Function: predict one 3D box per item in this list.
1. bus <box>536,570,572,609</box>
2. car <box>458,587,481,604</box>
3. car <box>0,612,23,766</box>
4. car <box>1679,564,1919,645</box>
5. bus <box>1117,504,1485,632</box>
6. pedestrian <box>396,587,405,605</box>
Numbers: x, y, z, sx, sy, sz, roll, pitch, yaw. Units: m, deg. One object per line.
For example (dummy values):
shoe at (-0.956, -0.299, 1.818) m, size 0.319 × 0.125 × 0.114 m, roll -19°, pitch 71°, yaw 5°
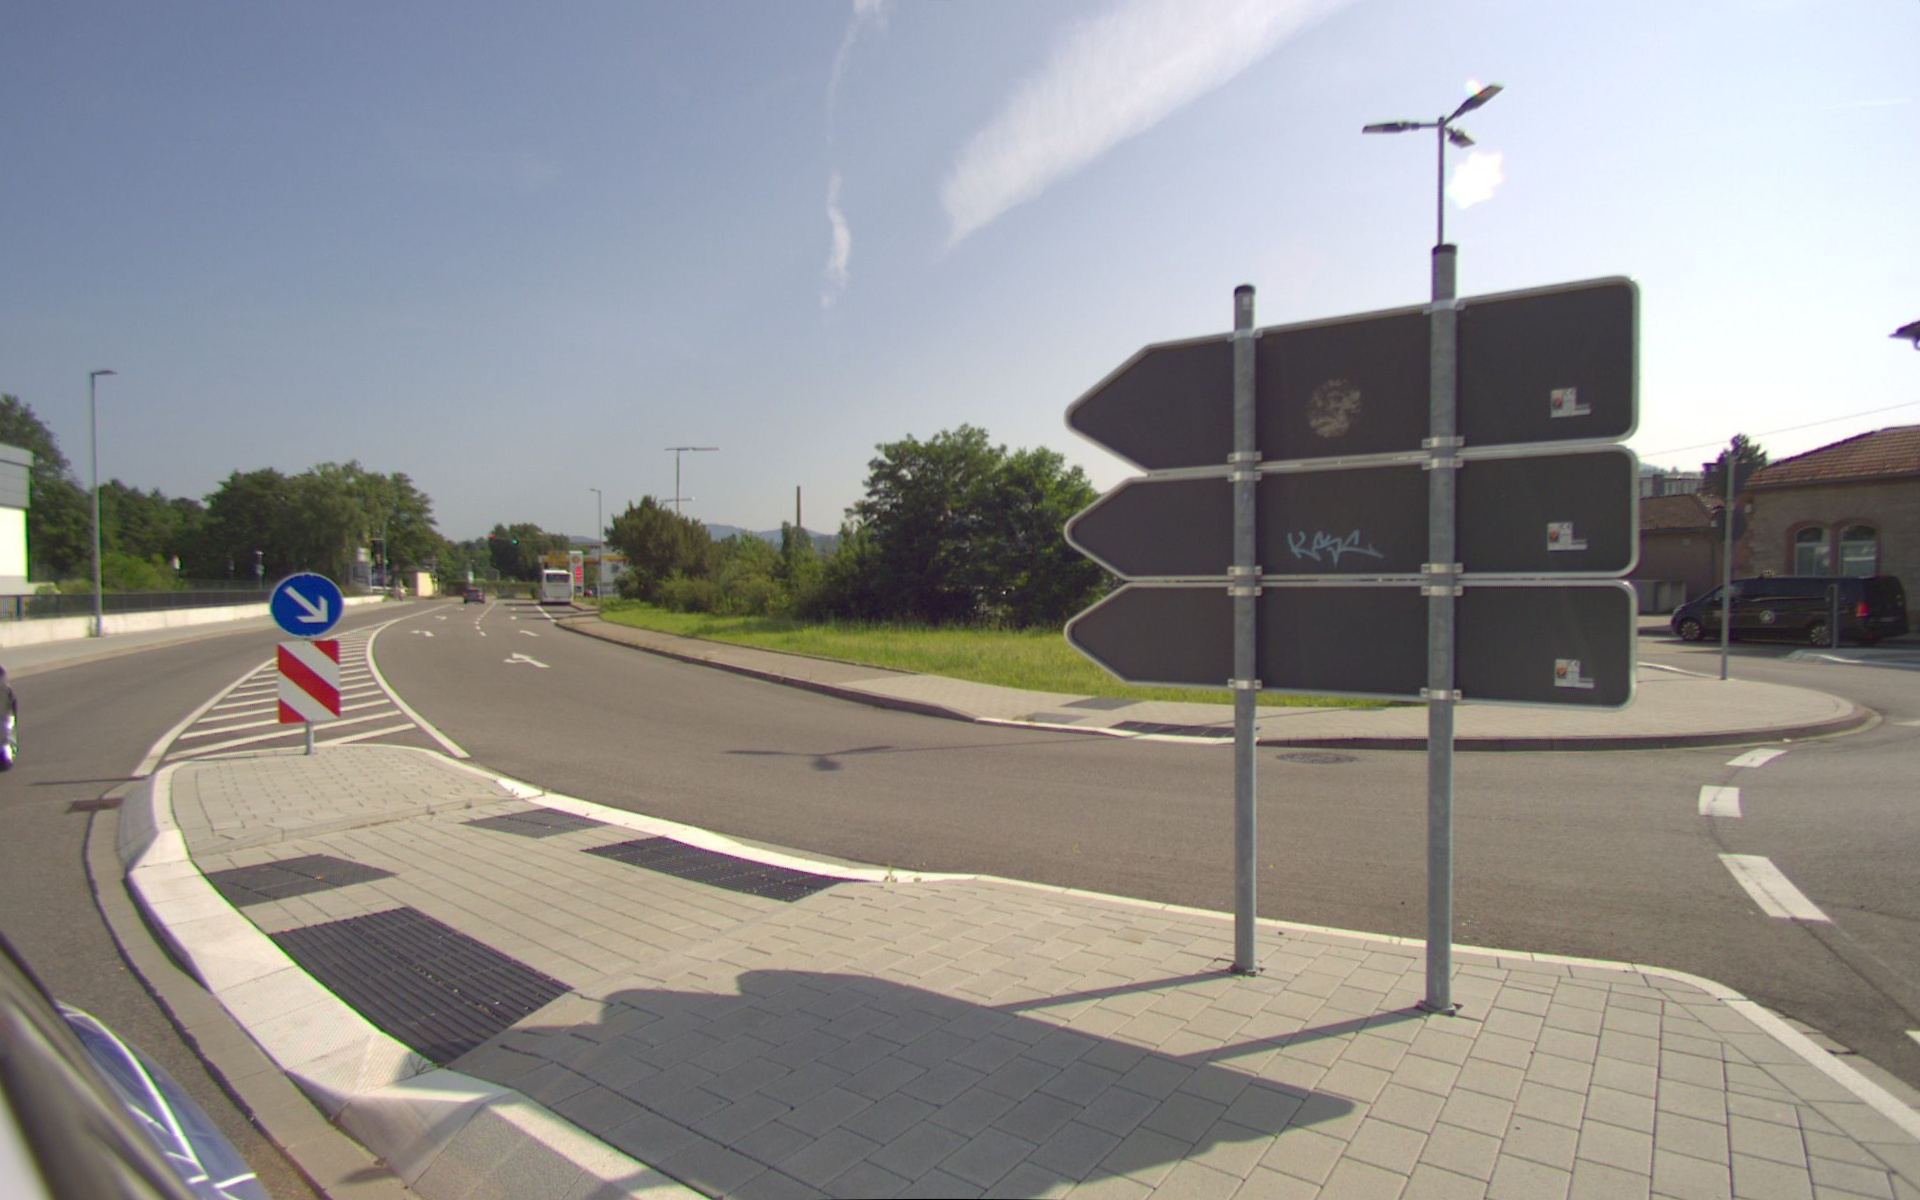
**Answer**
bus at (-37.742, -0.987, 93.908) m, size 2.583 × 3.335 × 11.997 m, roll 0°, pitch 1°, yaw -24°
car at (-46.422, -0.433, 95.899) m, size 1.747 × 1.484 × 4.234 m, roll 0°, pitch 1°, yaw -23°
car at (-8.596, 0.780, 7.577) m, size 1.839 × 1.340 × 4.242 m, roll -1°, pitch 0°, yaw -36°
car at (22.361, 0.074, 27.076) m, size 1.814 × 1.960 × 4.898 m, roll 0°, pitch 1°, yaw -19°
bus at (9.570, -0.803, 30.838) m, size 3.021 × 3.147 × 11.758 m, roll -1°, pitch 0°, yaw -28°
pedestrian at (-54.927, -0.392, 99.322) m, size 0.700 × 1.684 × 0.595 m, roll 0°, pitch 0°, yaw -30°
